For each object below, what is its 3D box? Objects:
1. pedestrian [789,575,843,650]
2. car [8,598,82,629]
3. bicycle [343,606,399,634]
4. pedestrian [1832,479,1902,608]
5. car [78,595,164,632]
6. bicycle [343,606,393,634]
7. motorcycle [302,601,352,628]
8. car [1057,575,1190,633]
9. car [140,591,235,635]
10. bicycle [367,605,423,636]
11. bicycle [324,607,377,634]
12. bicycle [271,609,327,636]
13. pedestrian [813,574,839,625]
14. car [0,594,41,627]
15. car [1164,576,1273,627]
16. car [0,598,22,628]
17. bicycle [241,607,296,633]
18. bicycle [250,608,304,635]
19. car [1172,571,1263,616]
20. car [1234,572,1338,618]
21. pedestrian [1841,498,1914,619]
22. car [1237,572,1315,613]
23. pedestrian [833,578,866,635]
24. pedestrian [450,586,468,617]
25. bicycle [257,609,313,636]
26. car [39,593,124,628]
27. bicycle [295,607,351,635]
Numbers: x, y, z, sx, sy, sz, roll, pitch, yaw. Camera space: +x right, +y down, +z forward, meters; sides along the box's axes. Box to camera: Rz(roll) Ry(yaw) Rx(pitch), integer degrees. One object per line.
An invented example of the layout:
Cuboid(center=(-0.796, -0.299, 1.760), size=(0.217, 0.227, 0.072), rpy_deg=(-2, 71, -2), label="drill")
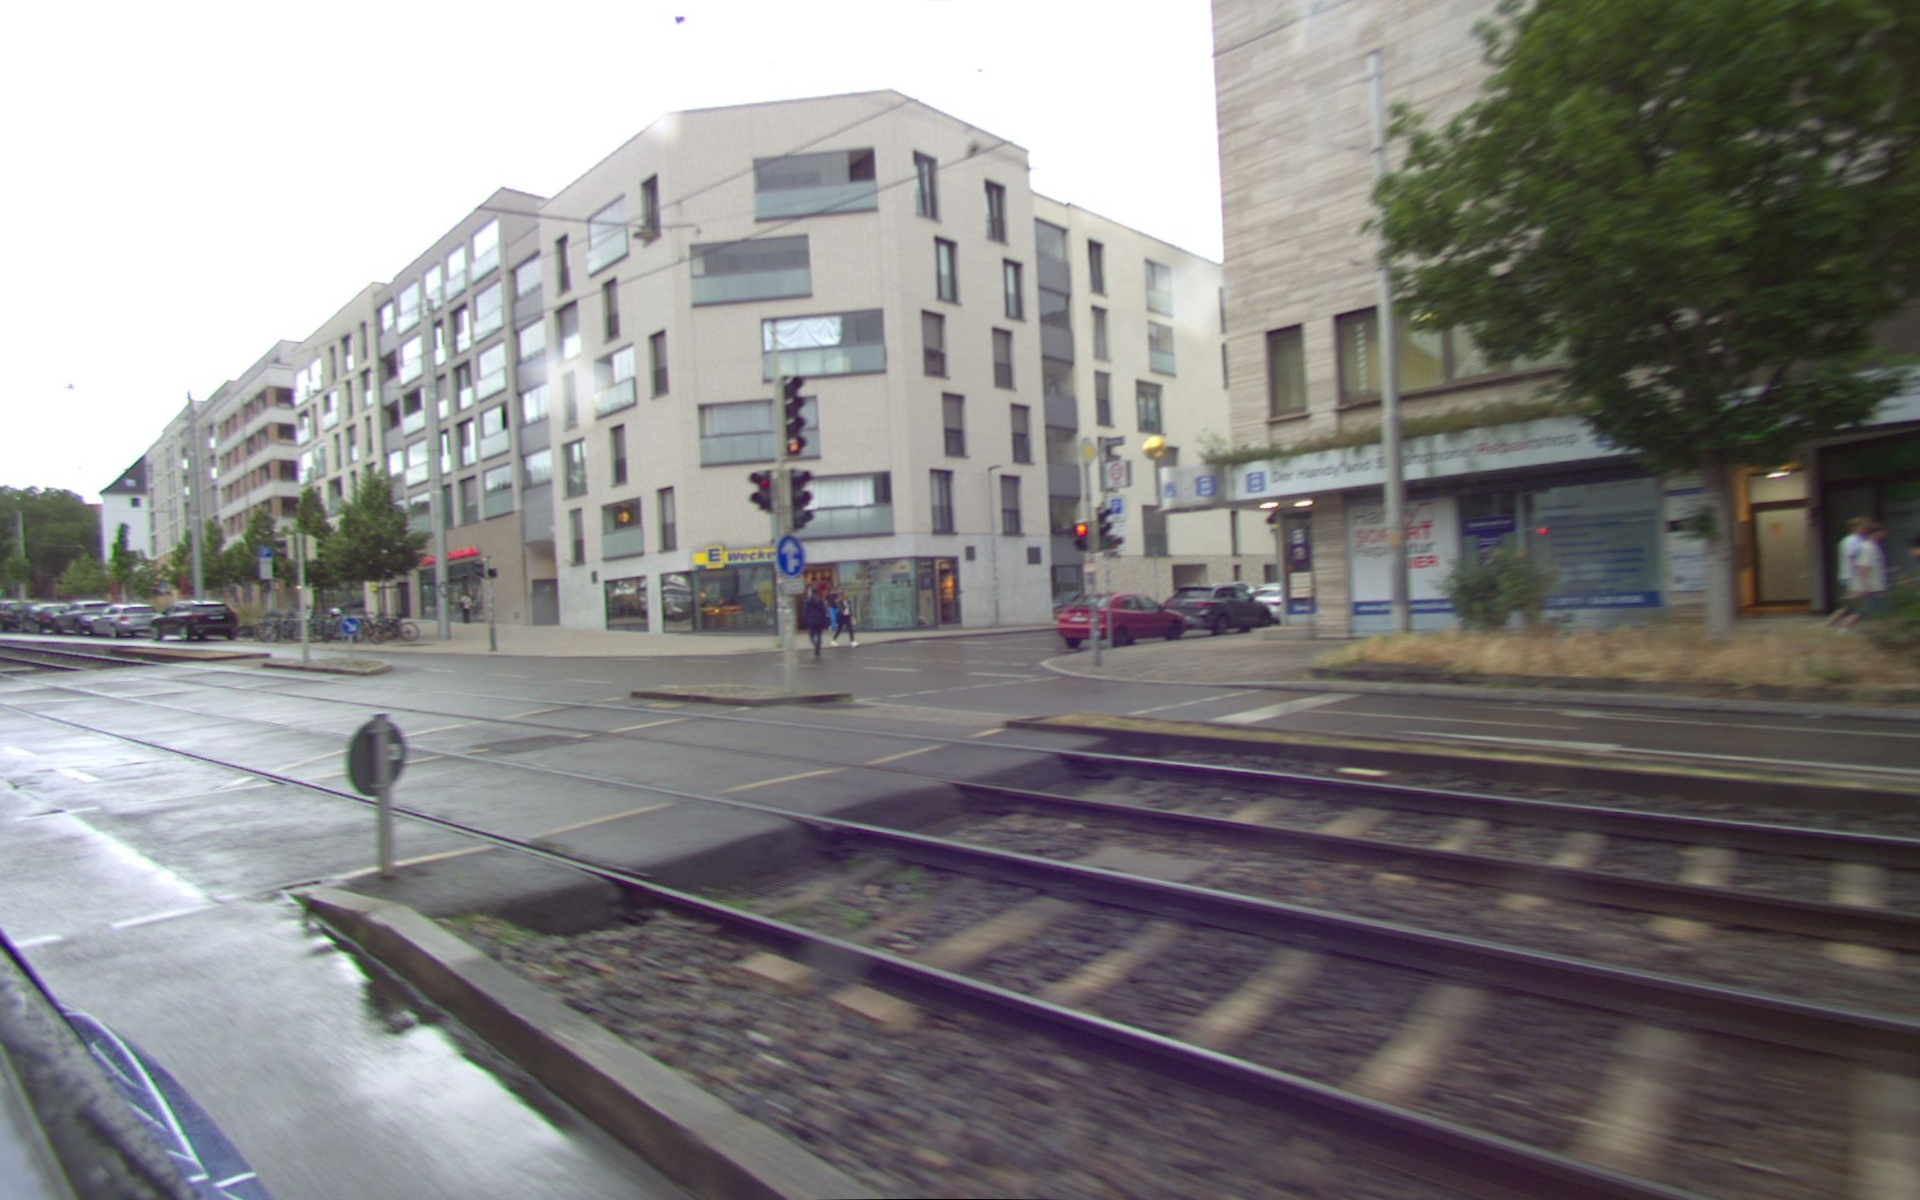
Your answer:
Cuboid(center=(-3.616, 0.303, 25.448), size=(0.957, 1.843, 0.922), rpy_deg=(0, 1, 36), label="pedestrian")
Cuboid(center=(-45.260, 0.627, 50.040), size=(4.021, 1.391, 1.667), rpy_deg=(0, 3, 33), label="car")
Cuboid(center=(-21.461, 0.723, 36.913), size=(0.386, 0.882, 1.771), rpy_deg=(0, 3, 31), label="bicycle")
Cuboid(center=(12.661, -0.786, 14.136), size=(0.684, 1.736, 0.641), rpy_deg=(1, 5, 42), label="pedestrian")
Cuboid(center=(-37.145, 0.548, 44.801), size=(4.316, 1.475, 1.667), rpy_deg=(0, 3, 33), label="car")
Cuboid(center=(-21.925, 0.729, 37.498), size=(0.384, 0.924, 1.780), rpy_deg=(-1, 3, 16), label="bicycle")
Cuboid(center=(-26.631, 0.587, 42.608), size=(0.541, 1.050, 1.747), rpy_deg=(2, 2, 29), label="motorcycle")
Cuboid(center=(4.314, 0.048, 26.423), size=(3.651, 1.327, 1.595), rpy_deg=(-3, 3, -45), label="car")
Cuboid(center=(-31.534, 0.489, 41.282), size=(4.316, 1.615, 1.667), rpy_deg=(0, 3, 33), label="car")
Cuboid(center=(-20.359, 0.731, 36.505), size=(0.439, 0.987, 1.772), rpy_deg=(0, 4, 29), label="bicycle")
Cuboid(center=(-22.822, 0.745, 37.936), size=(0.385, 0.924, 1.775), rpy_deg=(0, 2, 24), label="bicycle")
Cuboid(center=(-25.079, 0.833, 38.422), size=(0.386, 0.924, 1.772), rpy_deg=(0, 2, 29), label="bicycle")
Cuboid(center=(-4.615, -0.029, 34.930), size=(0.581, 1.723, 0.701), rpy_deg=(-1, 2, 20), label="pedestrian")
Cuboid(center=(-49.737, 0.527, 52.764), size=(3.917, 1.575, 1.667), rpy_deg=(0, 3, 33), label="car")
Cuboid(center=(7.671, -0.009, 29.908), size=(1.594, 1.327, 3.654), rpy_deg=(1, 3, 43), label="car")
Cuboid(center=(-53.350, 0.711, 55.626), size=(3.917, 1.516, 1.667), rpy_deg=(0, 3, 33), label="car")
Cuboid(center=(-27.409, 0.795, 40.147), size=(0.386, 0.924, 1.772), rpy_deg=(0, 3, 29), label="bicycle")
Cuboid(center=(-26.724, 0.828, 39.625), size=(0.386, 0.924, 1.772), rpy_deg=(0, 2, 29), label="bicycle")
Cuboid(center=(11.018, -0.324, 43.137), size=(3.942, 1.607, 2.002), rpy_deg=(-6, 5, -44), label="car")
Cuboid(center=(10.894, -0.219, 33.647), size=(1.594, 1.327, 4.439), rpy_deg=(1, 3, 43), label="car")
Cuboid(center=(12.226, -0.566, 13.503), size=(0.684, 1.560, 0.641), rpy_deg=(1, 5, 42), label="pedestrian")
Cuboid(center=(14.738, -0.380, 47.083), size=(3.942, 1.607, 1.803), rpy_deg=(-6, 5, -44), label="car")
Cuboid(center=(-3.188, 0.183, 29.329), size=(0.768, 1.580, 0.647), rpy_deg=(-1, 4, 6), label="pedestrian")
Cuboid(center=(-24.980, 0.070, 50.458), size=(0.533, 1.459, 0.803), rpy_deg=(-5, 5, -44), label="pedestrian")
Cuboid(center=(-25.881, 0.849, 38.835), size=(0.386, 0.924, 1.772), rpy_deg=(0, 2, 29), label="bicycle")
Cuboid(center=(-41.231, 0.468, 47.509), size=(4.032, 1.541, 1.669), rpy_deg=(0, 3, 29), label="car")
Cuboid(center=(-23.867, 0.782, 37.939), size=(0.386, 0.924, 1.772), rpy_deg=(0, 3, 29), label="bicycle")
